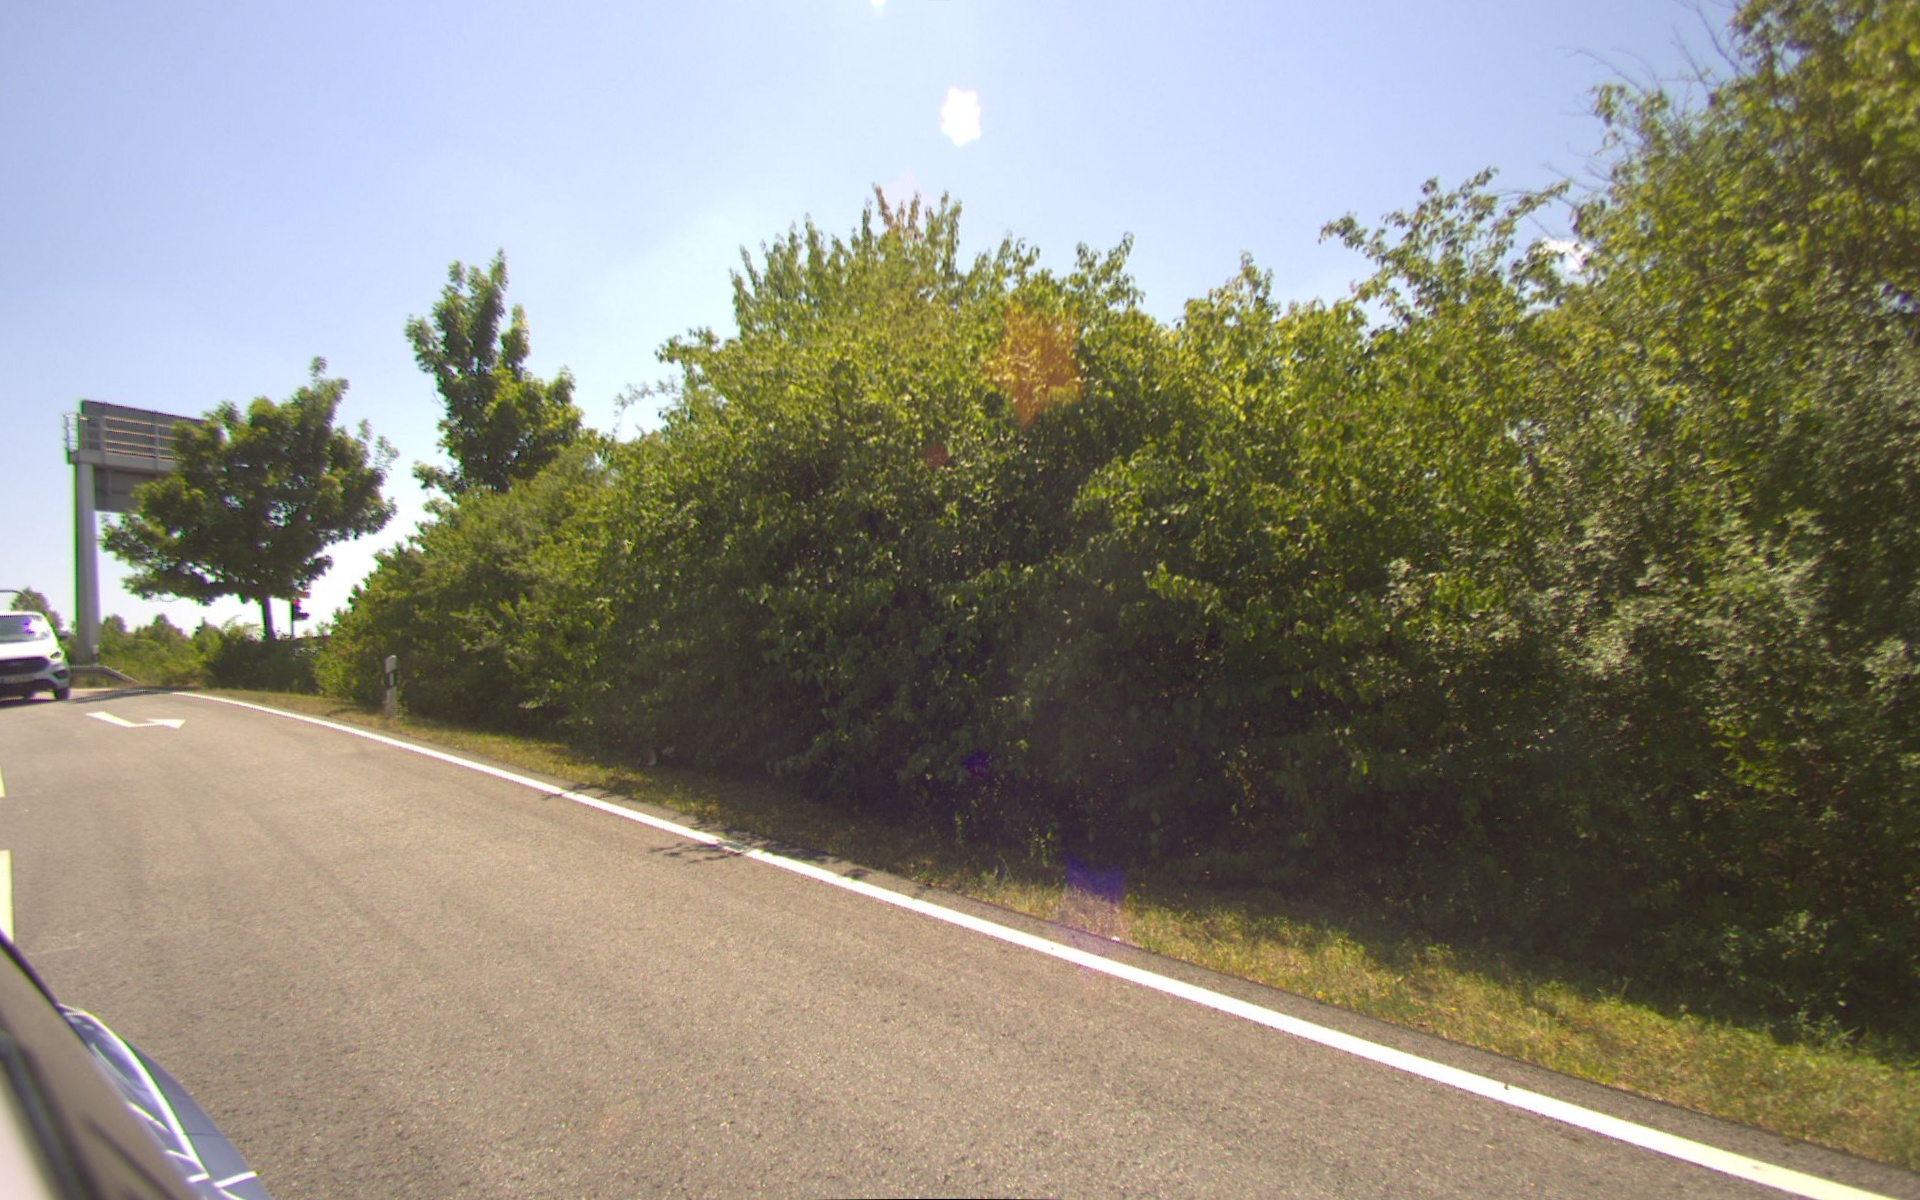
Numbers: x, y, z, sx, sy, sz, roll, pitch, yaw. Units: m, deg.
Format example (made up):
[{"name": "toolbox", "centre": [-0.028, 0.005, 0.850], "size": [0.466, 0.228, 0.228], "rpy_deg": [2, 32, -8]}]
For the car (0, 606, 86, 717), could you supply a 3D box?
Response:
[{"name": "car", "centre": [-21.003, 1.344, 21.811], "size": [5.862, 2.100, 2.007], "rpy_deg": [-3, 1, 37]}]
